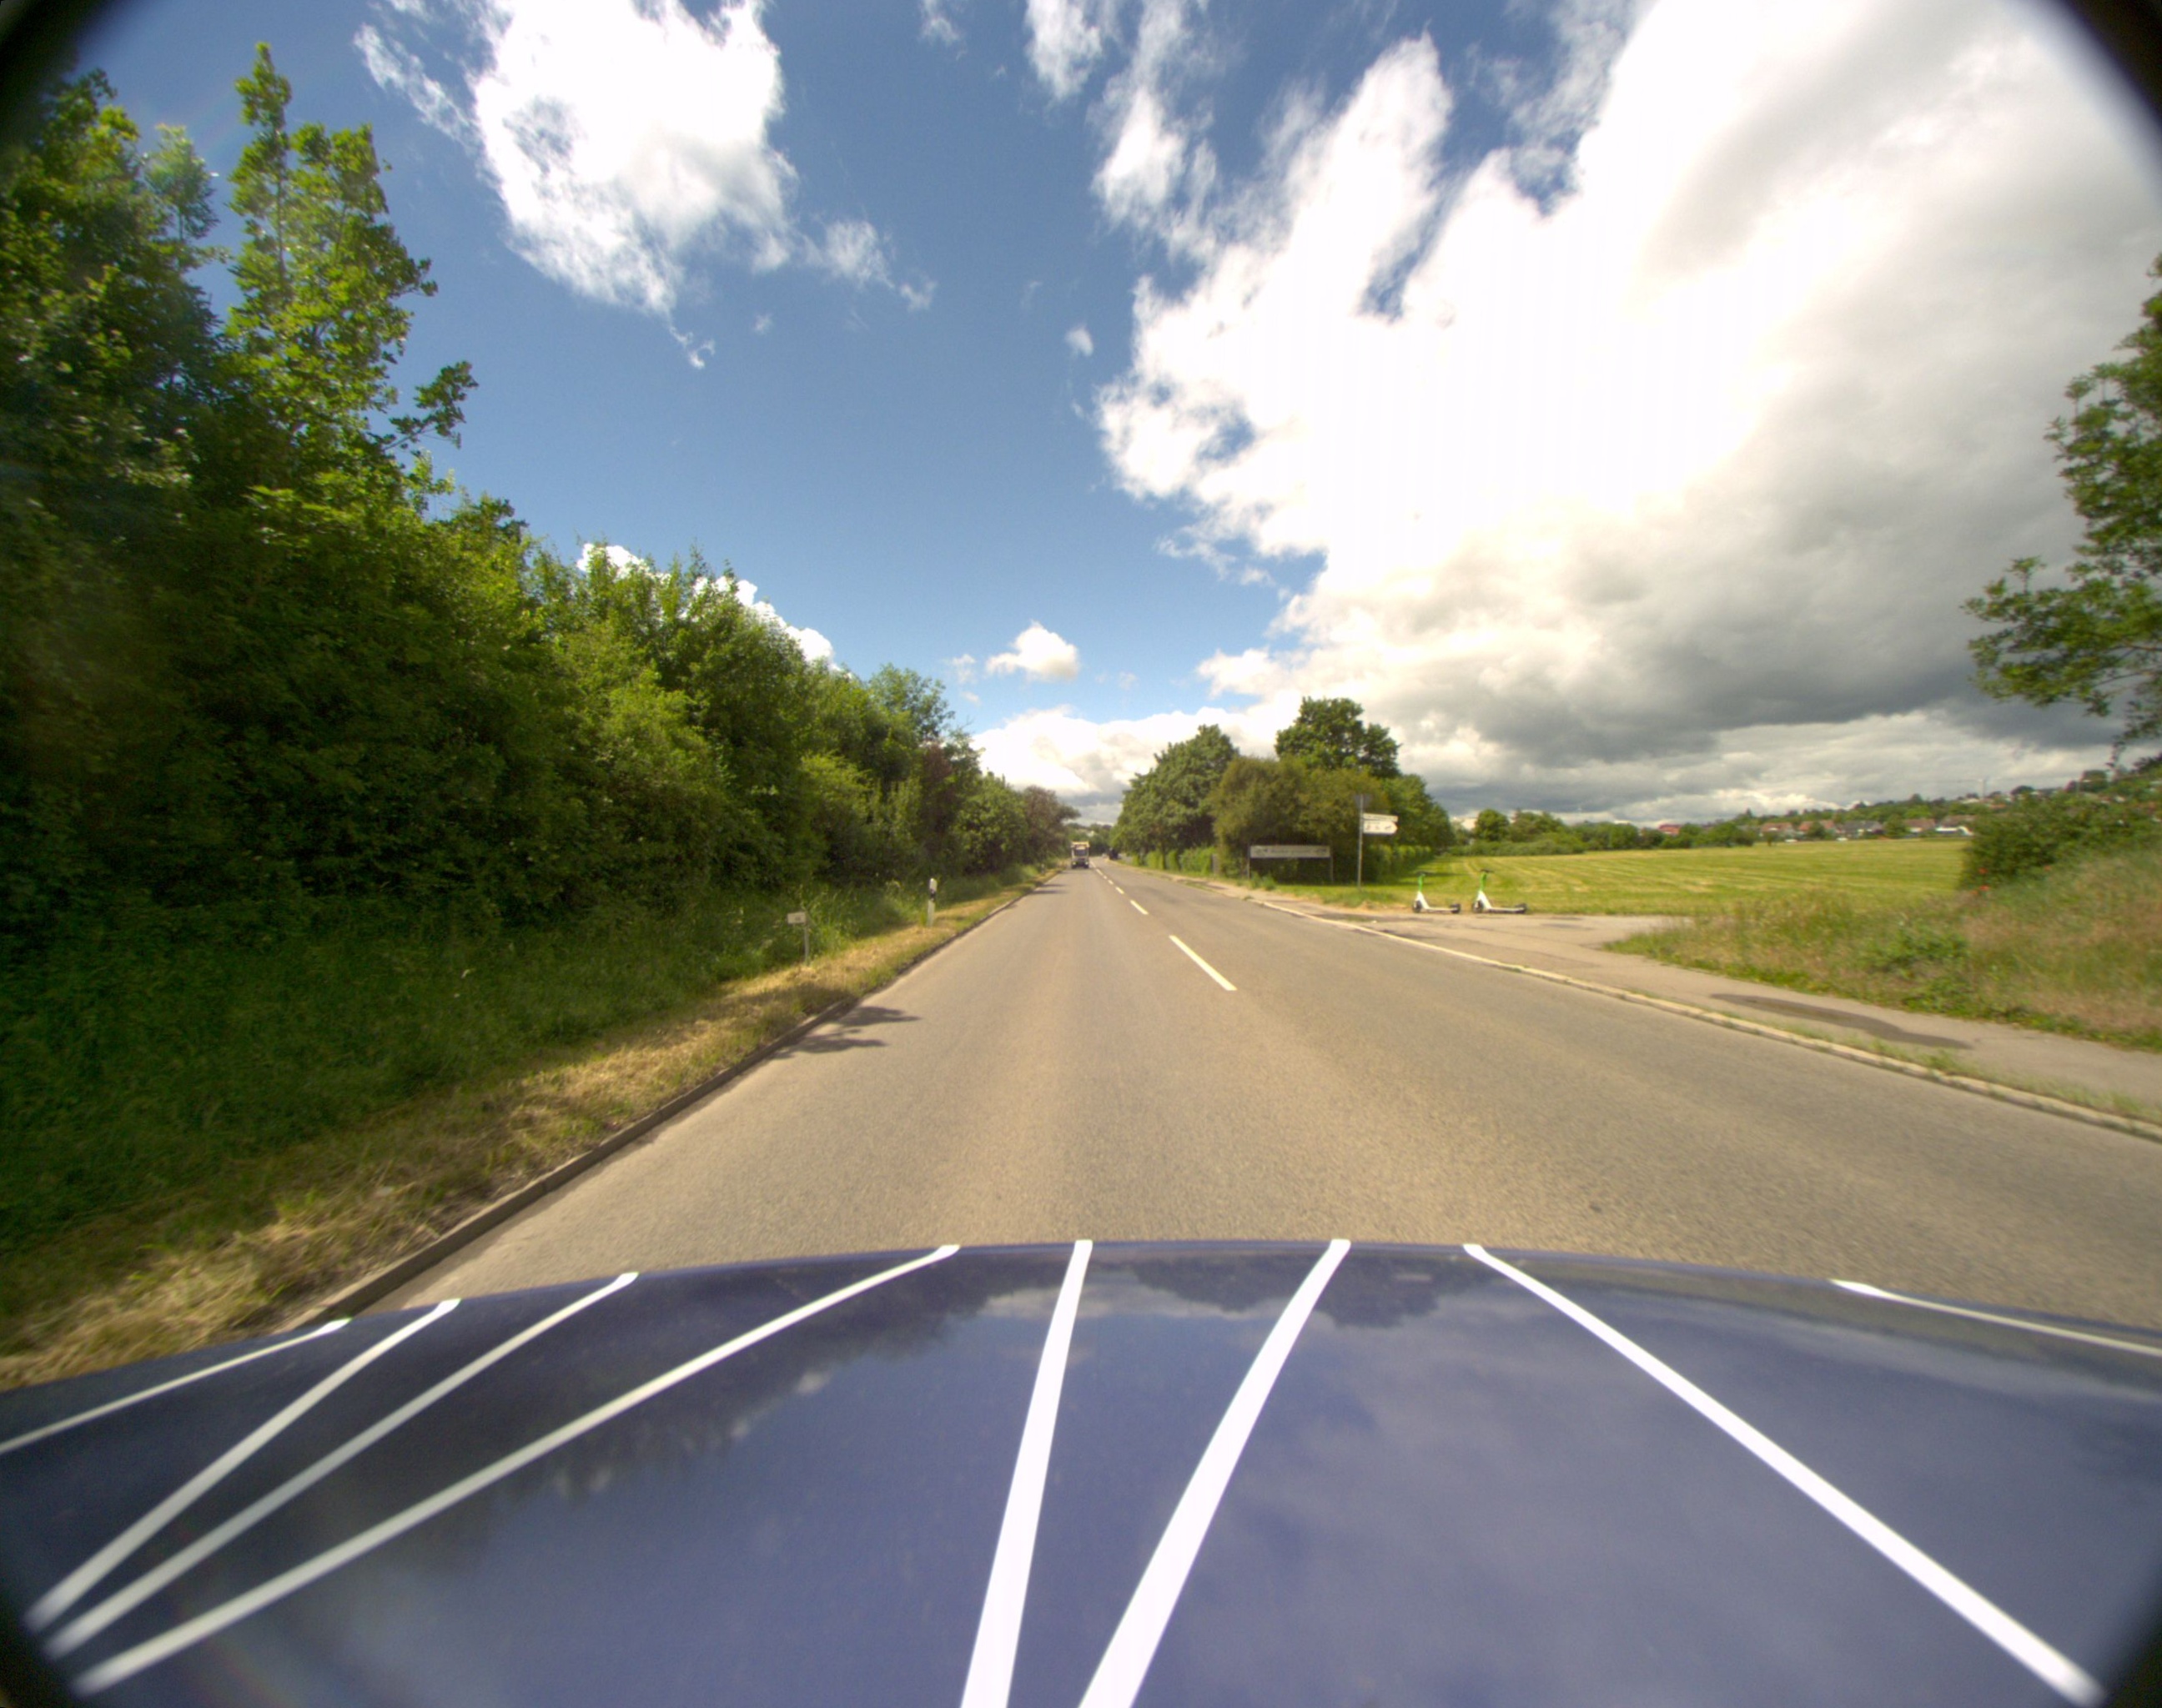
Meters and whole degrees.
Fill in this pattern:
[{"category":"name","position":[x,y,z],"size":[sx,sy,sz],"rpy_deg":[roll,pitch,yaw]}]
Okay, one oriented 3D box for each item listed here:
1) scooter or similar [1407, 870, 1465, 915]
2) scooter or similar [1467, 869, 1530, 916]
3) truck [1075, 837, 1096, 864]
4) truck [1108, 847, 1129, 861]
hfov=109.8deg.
[{"category":"scooter or similar","position":[9.516,1.026,20.392],"size":[0.408,1.162,1.347],"rpy_deg":[-2,0,-43]},{"category":"scooter or similar","position":[10.822,0.983,19.721],"size":[1.347,1.162,0.408],"rpy_deg":[-1,0,41]},{"category":"truck","position":[0.595,-0.540,111.599],"size":[2.905,3.746,9.633],"rpy_deg":[0,0,0]},{"category":"truck","position":[10.546,-0.029,215.426],"size":[5.570,3.801,2.983],"rpy_deg":[0,1,-4]}]
